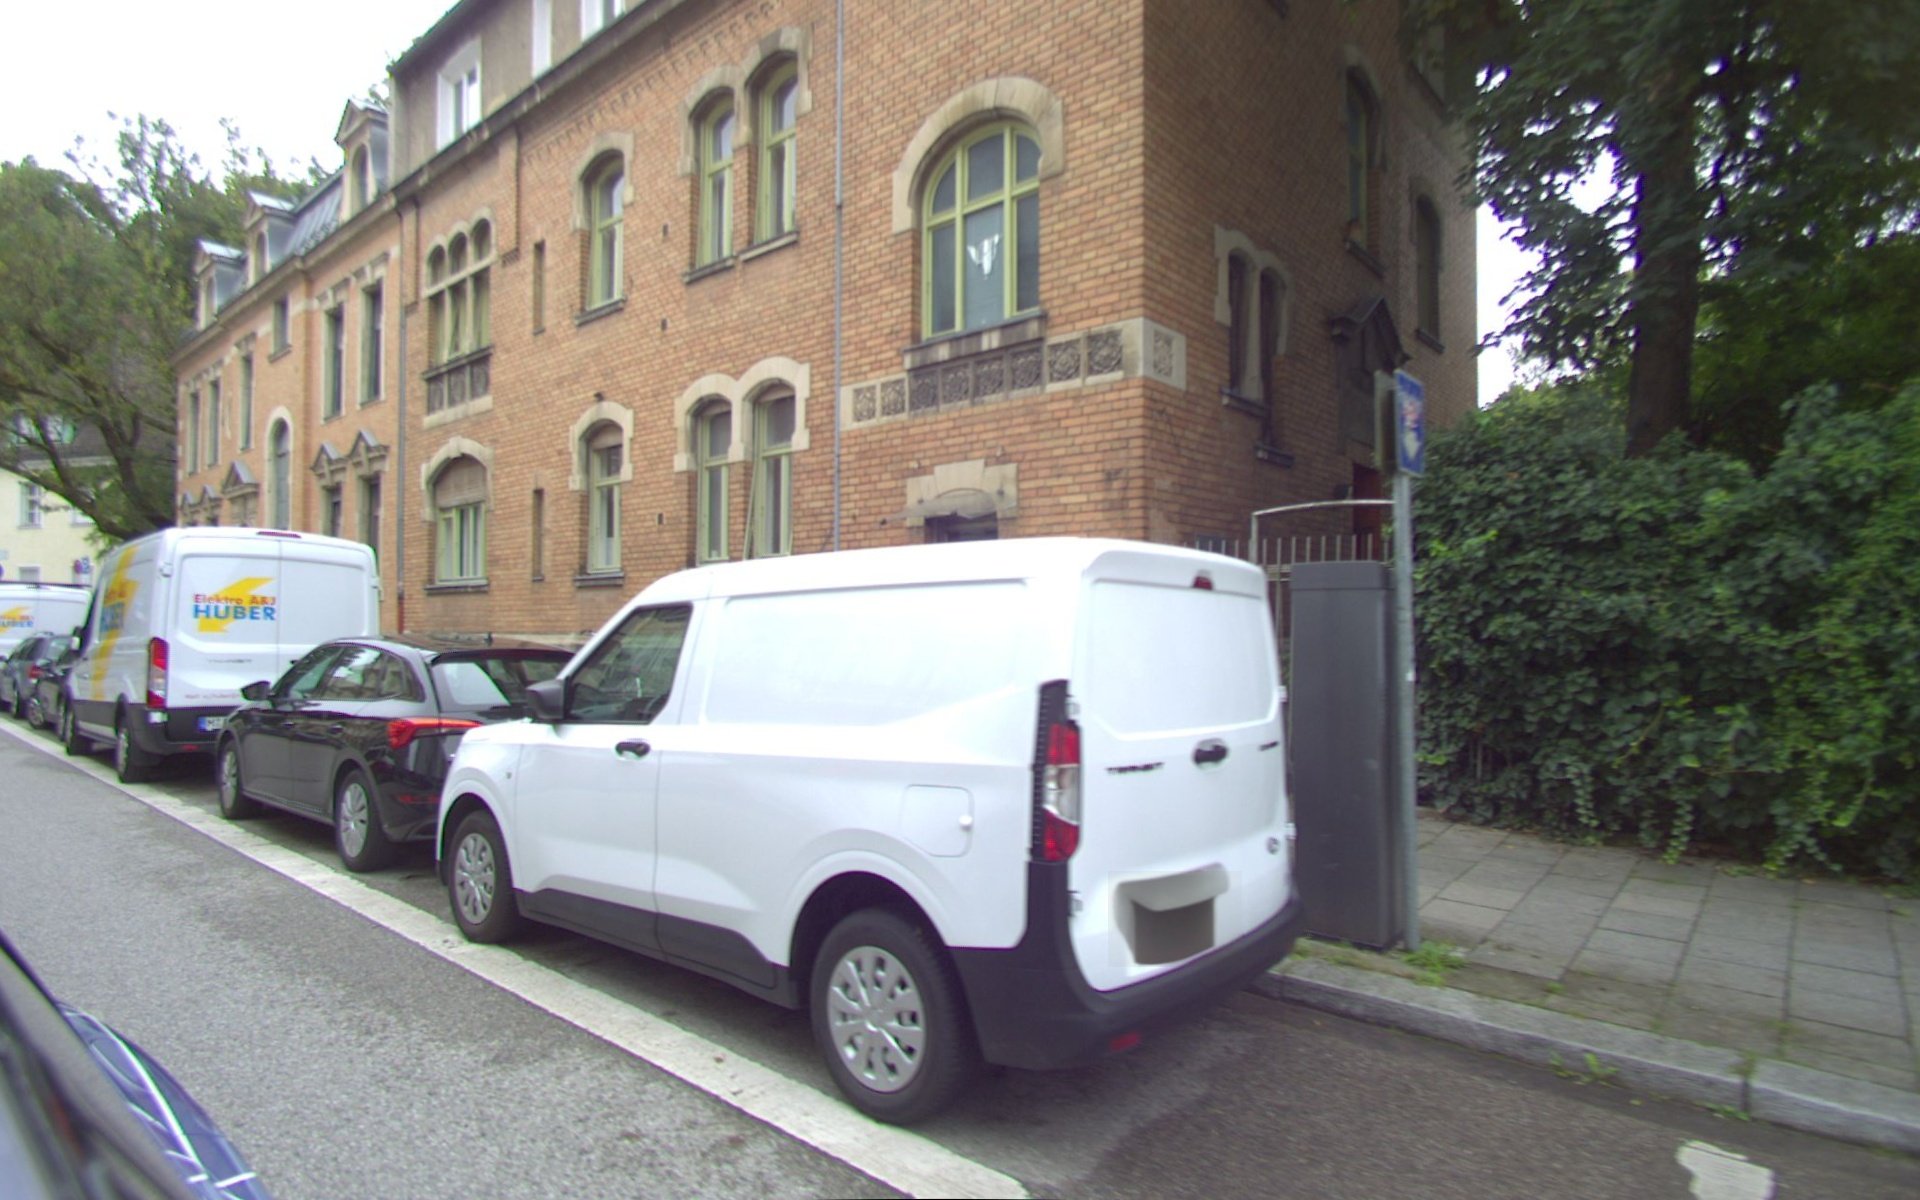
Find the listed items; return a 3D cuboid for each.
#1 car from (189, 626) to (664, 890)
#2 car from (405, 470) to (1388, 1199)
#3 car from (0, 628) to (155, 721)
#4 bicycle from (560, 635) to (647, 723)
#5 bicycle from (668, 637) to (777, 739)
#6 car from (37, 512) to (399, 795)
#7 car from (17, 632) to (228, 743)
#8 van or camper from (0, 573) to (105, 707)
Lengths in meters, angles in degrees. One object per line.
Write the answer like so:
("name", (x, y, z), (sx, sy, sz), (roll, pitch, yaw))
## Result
("car", (-4.129, 0.949, 7.535), (4.163, 1.431, 1.697), (-2, -3, 40))
("car", (-0.625, 0.667, 4.384), (4.247, 1.769, 1.697), (-2, -3, 40))
("car", (-16.194, 1.289, 18.328), (4.077, 1.512, 1.746), (-2, -3, 40))
("bicycle", (-4.807, 1.037, 13.605), (1.470, 1.093, 0.389), (-1, 0, 40))
("bicycle", (-2.779, 0.994, 11.780), (1.470, 1.093, 0.430), (-1, 0, 40))
("car", (-8.517, 0.575, 11.411), (5.227, 2.495, 2.090), (-2, -3, 40))
("car", (-12.423, 1.206, 14.950), (3.790, 1.426, 1.746), (-2, -3, 40))
("van or camper", (-20.740, 0.893, 22.273), (4.954, 2.682, 2.089), (-2, -3, 40))
